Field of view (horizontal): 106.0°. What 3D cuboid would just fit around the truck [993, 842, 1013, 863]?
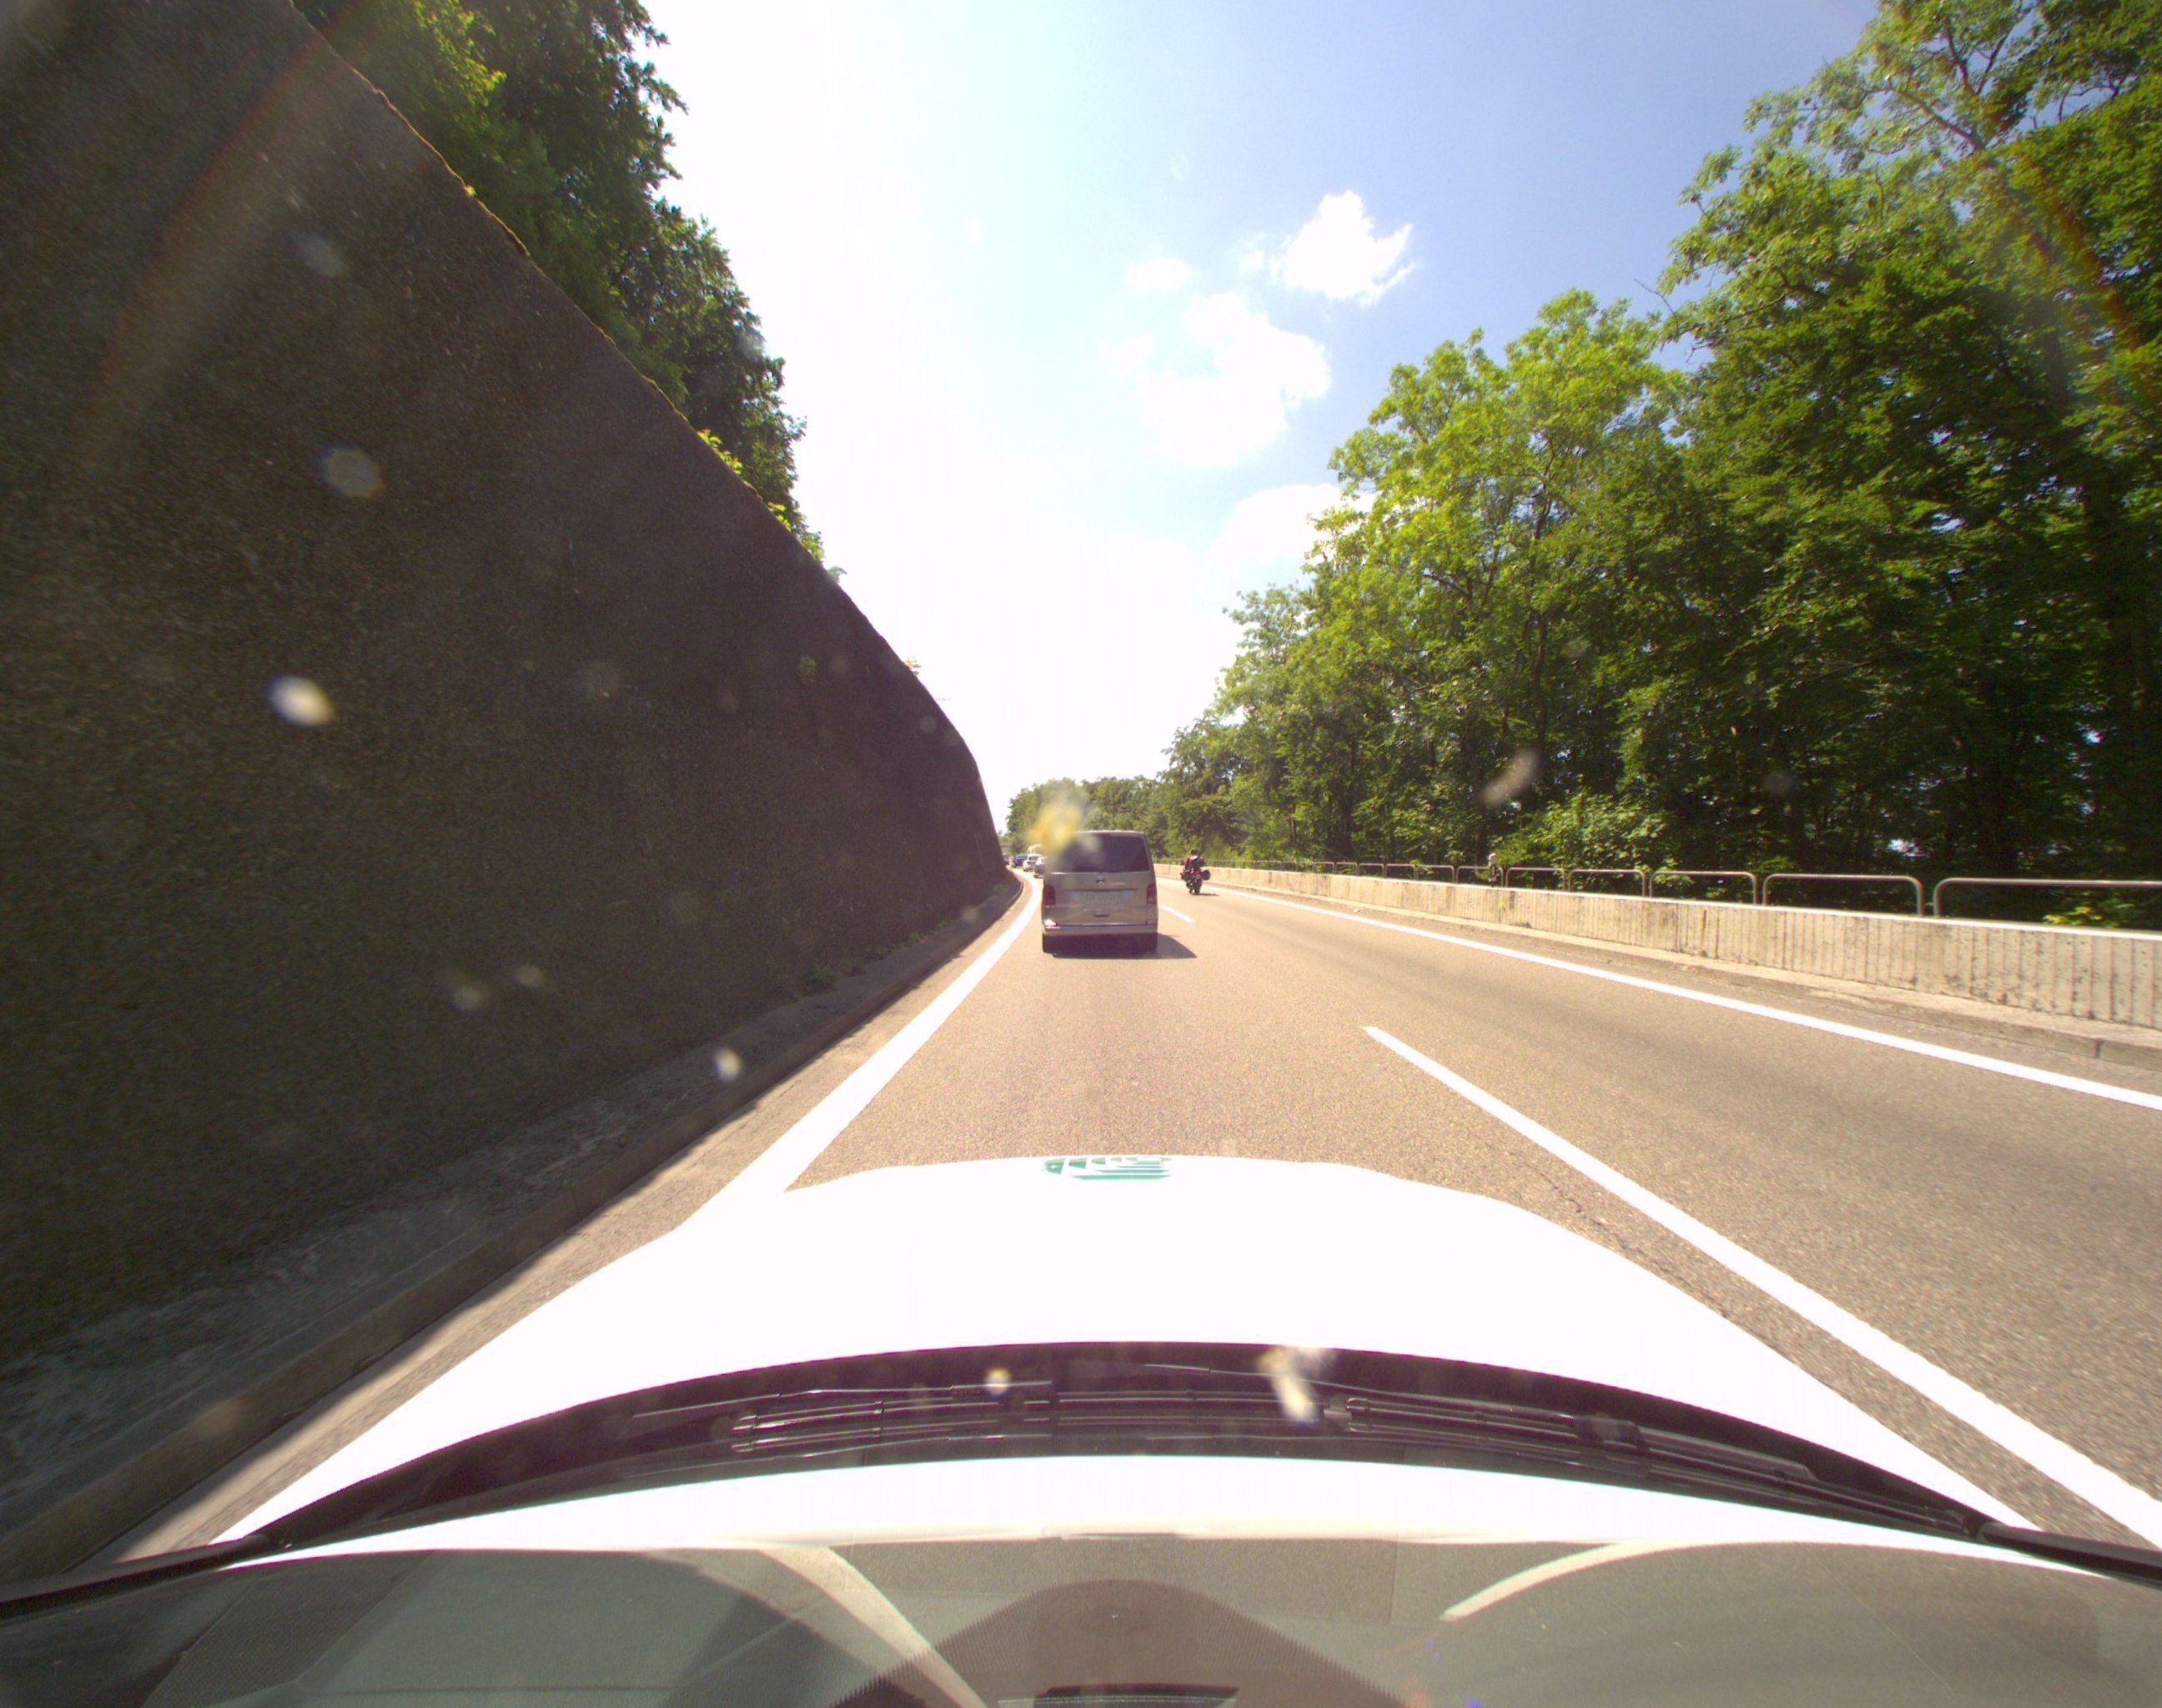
[{"bbox_3d":[-13.908,-0.302,145.454,2.925,3.687,7.698,0,0,-10],"label":"truck"}]

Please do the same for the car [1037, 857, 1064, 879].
[{"bbox_3d":[-2.031,0.915,55.025,1.767,1.472,3.997,0,0,-1],"label":"car"}]

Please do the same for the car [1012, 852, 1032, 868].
[{"bbox_3d":[-6.391,0.651,87.481,1.857,1.620,3.988,0,0,-9],"label":"car"}]

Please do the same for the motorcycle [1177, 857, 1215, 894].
[{"bbox_3d":[4.501,0.817,32.102,0.970,1.419,2.677,0,0,-4],"label":"motorcycle"}]

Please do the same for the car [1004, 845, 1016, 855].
[{"bbox_3d":[-14.003,-0.727,160.102,1.993,2.014,3.988,0,0,-9],"label":"car"}]

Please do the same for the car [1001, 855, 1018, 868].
[{"bbox_3d":[-9.106,0.959,103.123,1.992,1.618,3.989,0,0,-8],"label":"car"}]

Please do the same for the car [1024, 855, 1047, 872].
[{"bbox_3d":[-4.161,0.848,73.685,1.861,1.486,3.990,0,0,-7],"label":"car"}]

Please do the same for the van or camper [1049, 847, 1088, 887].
[{"bbox_3d":[-0.689,0.642,41.819,1.849,1.942,4.160,0,0,-3],"label":"van or camper"}]

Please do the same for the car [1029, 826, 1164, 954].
[{"bbox_3d":[0.095,0.560,14.734,1.937,1.931,4.686,0,0,-5],"label":"car"}]

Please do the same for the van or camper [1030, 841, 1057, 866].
[{"bbox_3d":[-4.848,-0.085,104.309,2.602,2.855,6.317,4,0,-8],"label":"van or camper"}]

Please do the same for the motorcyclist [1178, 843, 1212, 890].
[{"bbox_3d":[4.478,0.492,31.984,1.059,1.800,1.336,0,0,-5],"label":"motorcyclist"}]
